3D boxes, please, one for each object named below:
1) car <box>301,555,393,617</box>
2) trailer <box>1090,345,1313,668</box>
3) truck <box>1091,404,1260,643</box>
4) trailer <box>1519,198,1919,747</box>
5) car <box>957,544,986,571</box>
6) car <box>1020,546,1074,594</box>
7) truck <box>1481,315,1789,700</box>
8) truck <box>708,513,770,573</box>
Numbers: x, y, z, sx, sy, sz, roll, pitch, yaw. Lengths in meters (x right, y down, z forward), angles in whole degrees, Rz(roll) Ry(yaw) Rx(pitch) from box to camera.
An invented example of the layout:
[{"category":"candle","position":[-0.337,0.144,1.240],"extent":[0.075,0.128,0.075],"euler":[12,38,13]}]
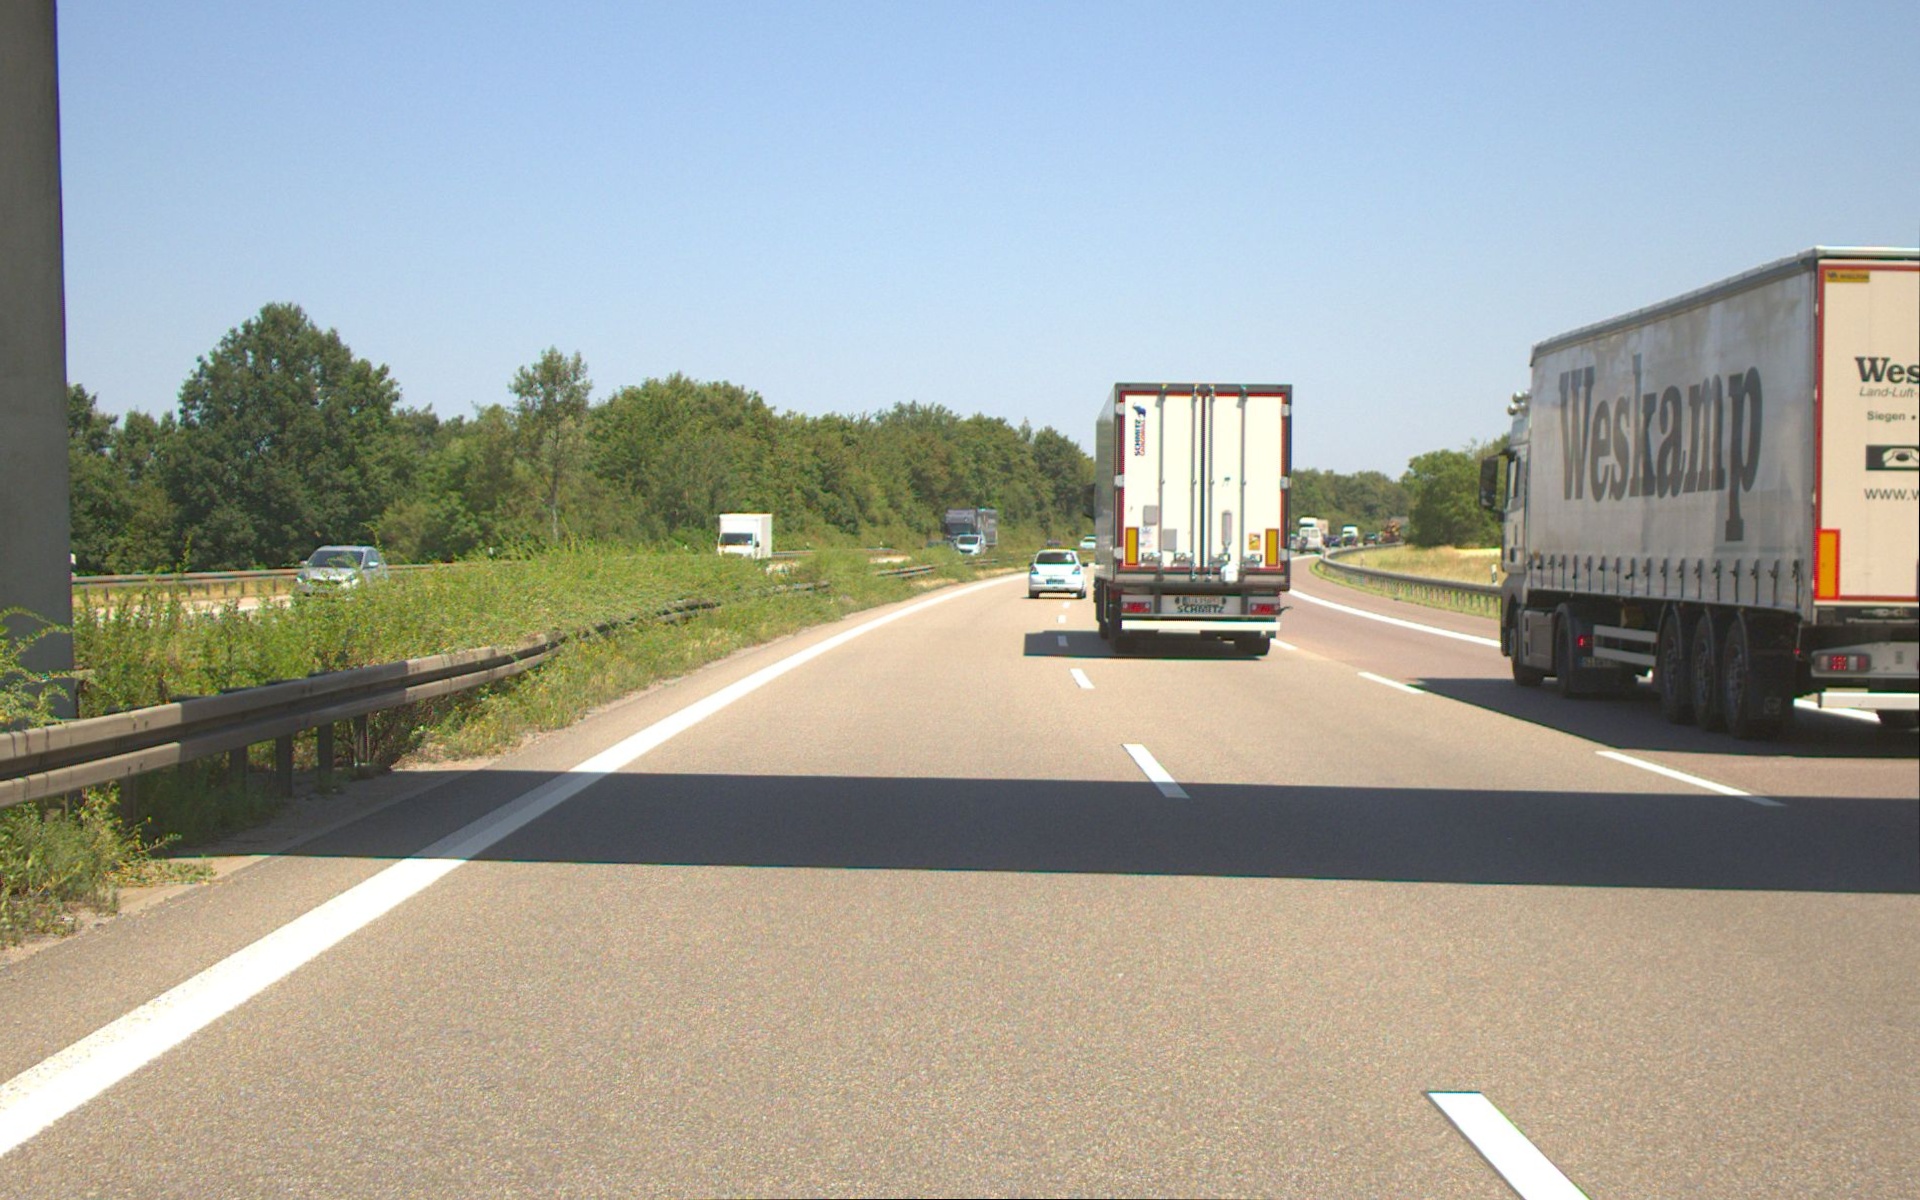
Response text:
[{"category":"car","position":[-16.076,-0.380,90.302],"extent":[1.710,1.568,4.404],"euler":[-1,1,-1]},{"category":"trailer","position":[3.758,-1.482,56.748],"extent":[2.901,4.641,13.986],"euler":[1,1,1]},{"category":"truck","position":[3.952,-1.414,64.158],"extent":[2.908,4.241,4.975],"euler":[1,1,2]},{"category":"trailer","position":[7.879,-1.022,33.463],"extent":[2.595,4.237,13.641],"euler":[1,0,0]},{"category":"car","position":[0.880,-3.207,259.014],"extent":[2.058,2.064,5.409],"euler":[0,1,2]},{"category":"car","position":[2.710,-0.941,106.917],"extent":[1.627,1.474,4.000],"euler":[0,1,2]},{"category":"truck","position":[7.875,-1.071,40.684],"extent":[2.600,4.241,5.089],"euler":[1,1,0]},{"category":"truck","position":[-11.461,-2.958,178.641],"extent":[2.452,3.088,6.990],"euler":[0,1,3]}]
